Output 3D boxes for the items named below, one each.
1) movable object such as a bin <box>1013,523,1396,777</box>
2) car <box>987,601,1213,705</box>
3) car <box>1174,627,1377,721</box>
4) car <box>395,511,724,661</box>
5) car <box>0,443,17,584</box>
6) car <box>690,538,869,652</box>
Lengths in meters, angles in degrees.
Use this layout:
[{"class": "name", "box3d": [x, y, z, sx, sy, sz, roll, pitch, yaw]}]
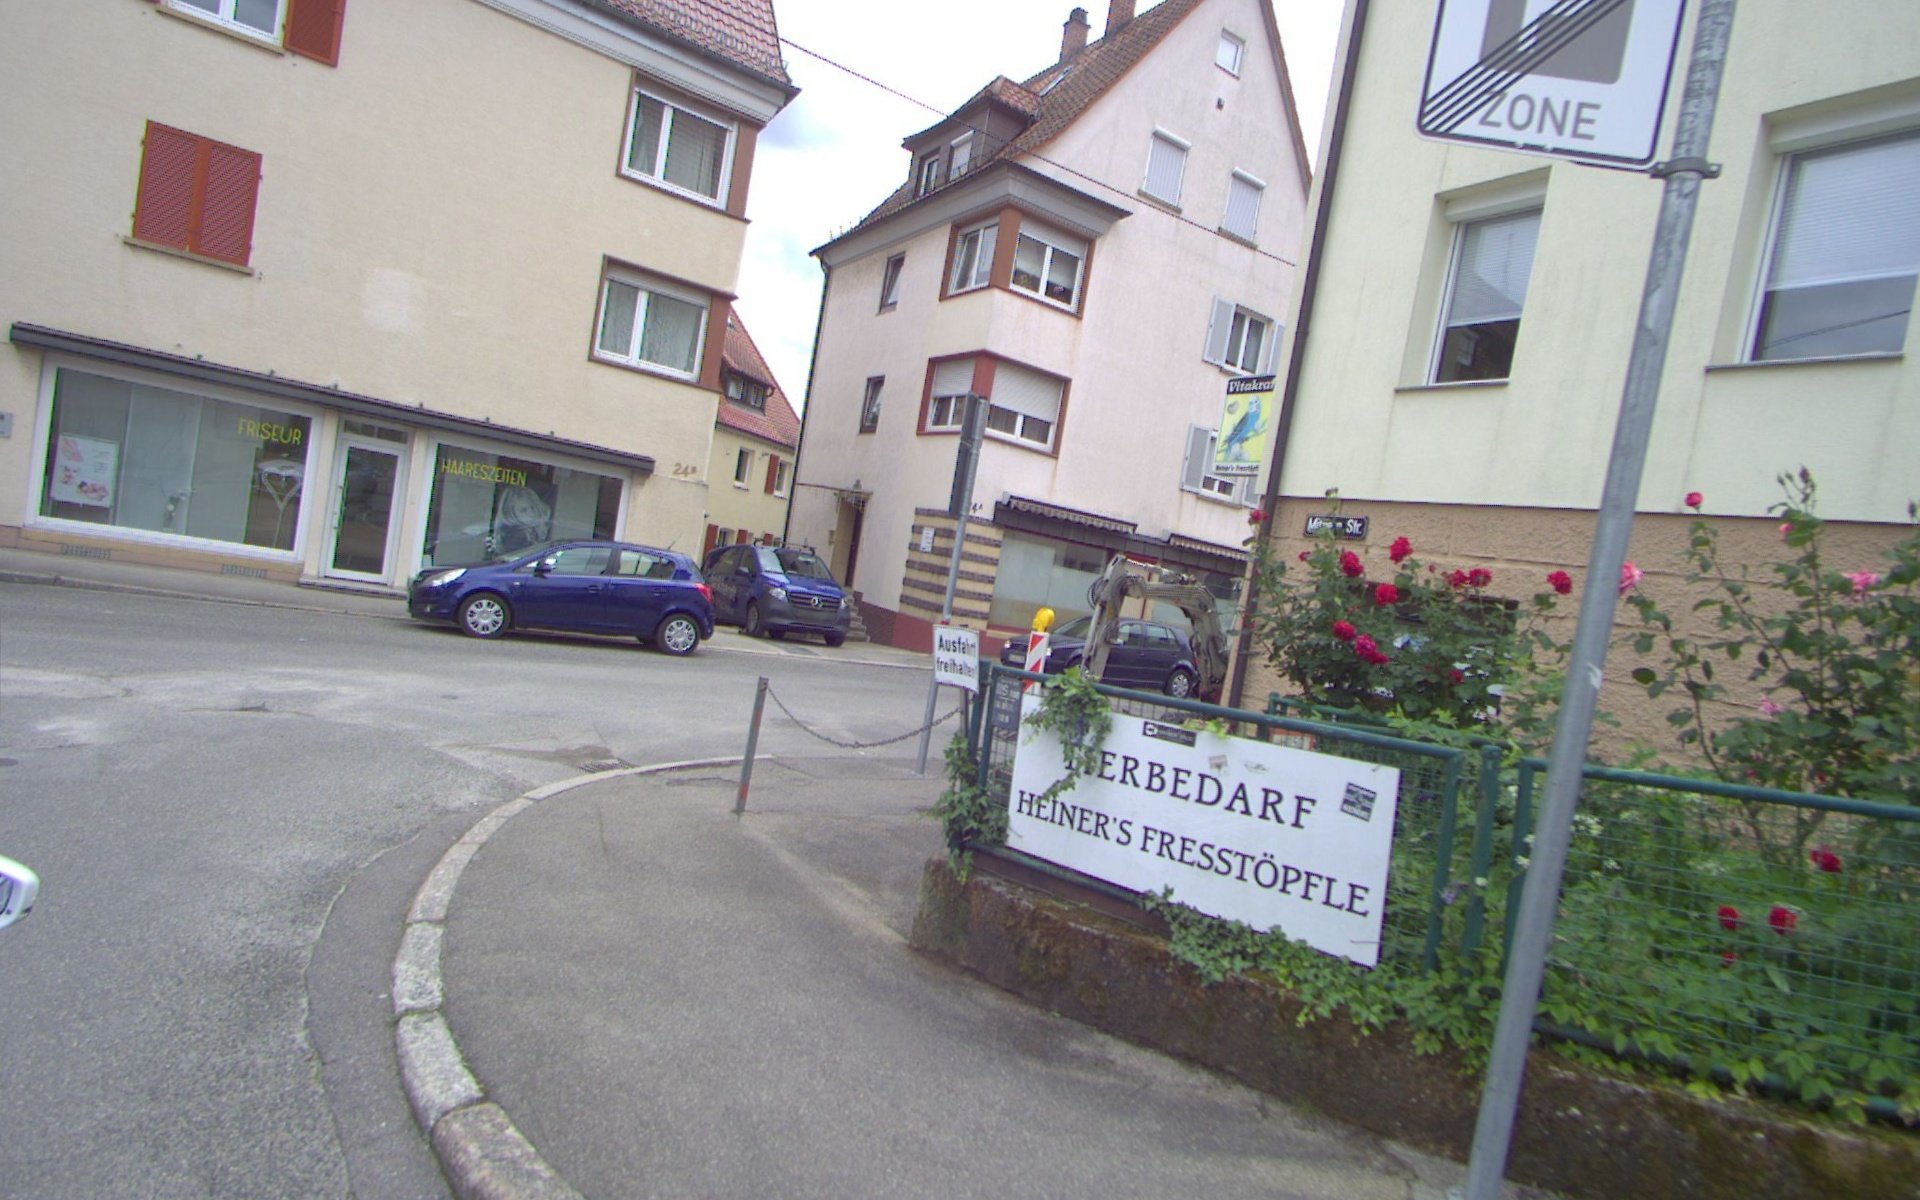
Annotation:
[{"class": "movable object such as a bin", "box3d": [3.141, 0.716, 12.485, 4.630, 2.533, 1.556, 7, 5, -34]}, {"class": "car", "box3d": [2.676, 1.016, 18.875, 3.963, 1.421, 1.681, 8, 1, -34]}, {"class": "car", "box3d": [6.695, 1.575, 21.242, 4.061, 1.467, 1.684, 8, 0, -31]}, {"class": "car", "box3d": [-5.463, -0.151, 13.839, 3.879, 1.467, 1.683, 8, -1, -31]}, {"class": "car", "box3d": [-11.911, -1.124, 9.729, 3.656, 1.576, 1.683, 8, 1, -31]}, {"class": "car", "box3d": [-3.858, -0.181, 20.733, 1.932, 1.888, 4.864, 7, -1, -30]}]
